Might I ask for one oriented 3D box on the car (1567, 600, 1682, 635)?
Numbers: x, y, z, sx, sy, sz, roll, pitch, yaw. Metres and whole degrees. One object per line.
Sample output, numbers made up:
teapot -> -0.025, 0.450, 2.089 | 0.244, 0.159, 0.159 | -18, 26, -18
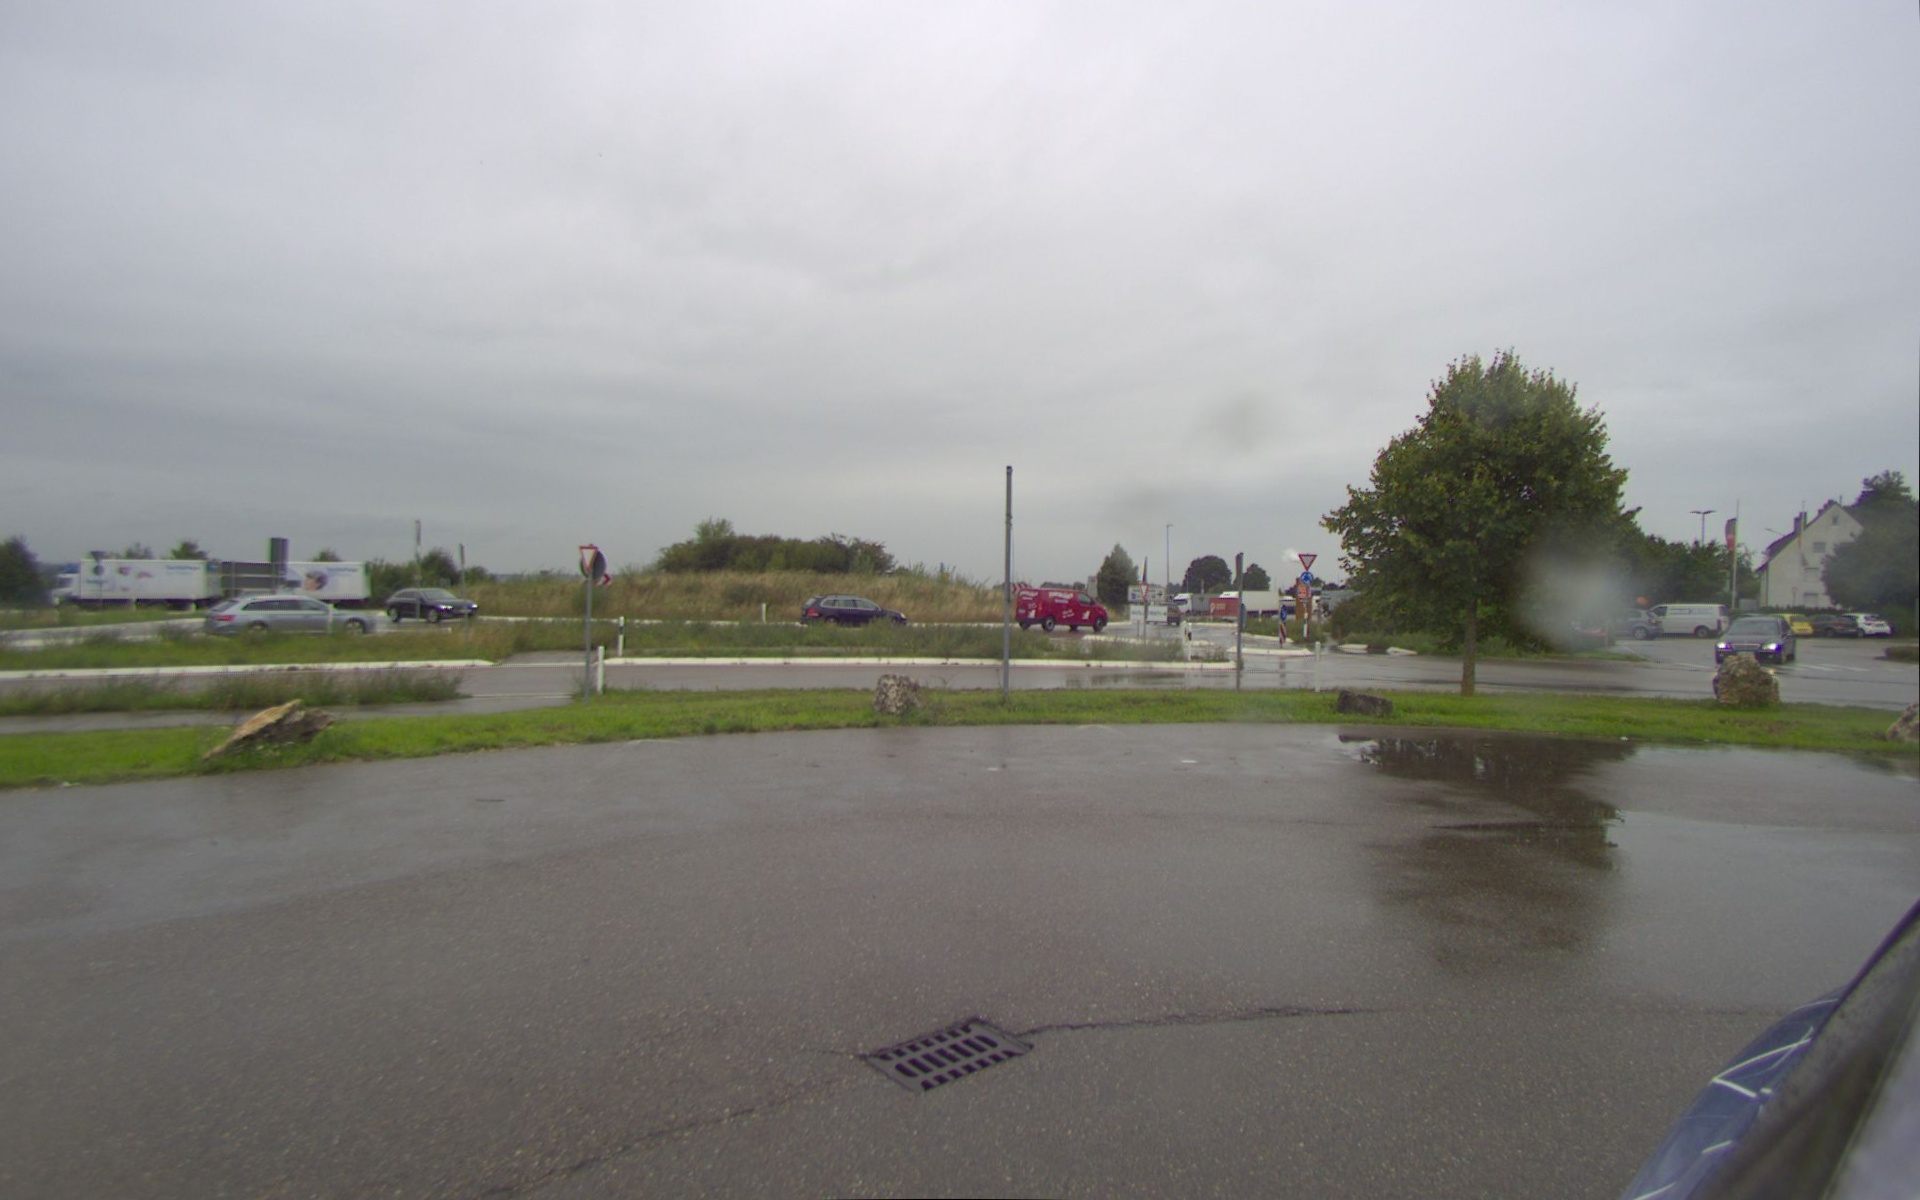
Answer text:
car -> 34.384, 0.879, 52.468 | 1.964, 1.744, 4.603 | 1, -1, -40

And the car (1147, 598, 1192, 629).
car -> 13.891, 0.895, 67.441 | 1.961, 2.039, 4.002 | 0, -1, -3

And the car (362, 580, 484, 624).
car -> -23.351, 0.053, 44.057 | 4.599, 1.704, 1.886 | 2, 2, 13

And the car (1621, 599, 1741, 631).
car -> 41.830, 0.852, 58.802 | 1.964, 1.744, 5.370 | 1, -1, -40

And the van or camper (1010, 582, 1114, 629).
van or camper -> 4.806, 0.259, 47.474 | 4.759, 2.038, 1.999 | 1, 2, -38

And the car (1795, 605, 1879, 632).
car -> 53.728, 1.122, 62.089 | 1.716, 1.590, 3.888 | 1, -1, 0

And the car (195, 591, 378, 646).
car -> -21.839, 0.535, 32.996 | 1.987, 1.499, 4.606 | 3, 3, 34

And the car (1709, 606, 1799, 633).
car -> 48.756, 1.175, 62.287 | 1.963, 1.570, 4.645 | 0, -1, 2

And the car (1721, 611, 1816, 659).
car -> 26.442, 1.113, 33.055 | 4.285, 1.443, 1.703 | 0, -1, -42

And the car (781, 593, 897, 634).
car -> -4.978, 0.530, 41.532 | 4.429, 1.623, 2.004 | 0, 0, -20

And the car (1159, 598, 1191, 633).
car -> 14.335, 0.998, 67.378 | 1.970, 2.038, 3.986 | 2, 3, 13

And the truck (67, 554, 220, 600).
truck -> -54.408, -1.466, 67.638 | 7.627, 2.945, 2.188 | 0, -1, -17

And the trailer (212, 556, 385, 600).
trailer -> -46.086, -1.456, 70.941 | 9.933, 2.939, 2.210 | 0, -1, -26

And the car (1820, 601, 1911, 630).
car -> 55.950, 0.958, 62.643 | 1.952, 1.750, 4.000 | 1, -1, -1

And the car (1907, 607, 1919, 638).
car -> 46.545, 1.086, 46.434 | 1.818, 1.443, 4.353 | 1, 0, -41

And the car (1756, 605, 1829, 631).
car -> 51.269, 1.097, 62.422 | 1.637, 1.569, 3.721 | 0, -1, 5
